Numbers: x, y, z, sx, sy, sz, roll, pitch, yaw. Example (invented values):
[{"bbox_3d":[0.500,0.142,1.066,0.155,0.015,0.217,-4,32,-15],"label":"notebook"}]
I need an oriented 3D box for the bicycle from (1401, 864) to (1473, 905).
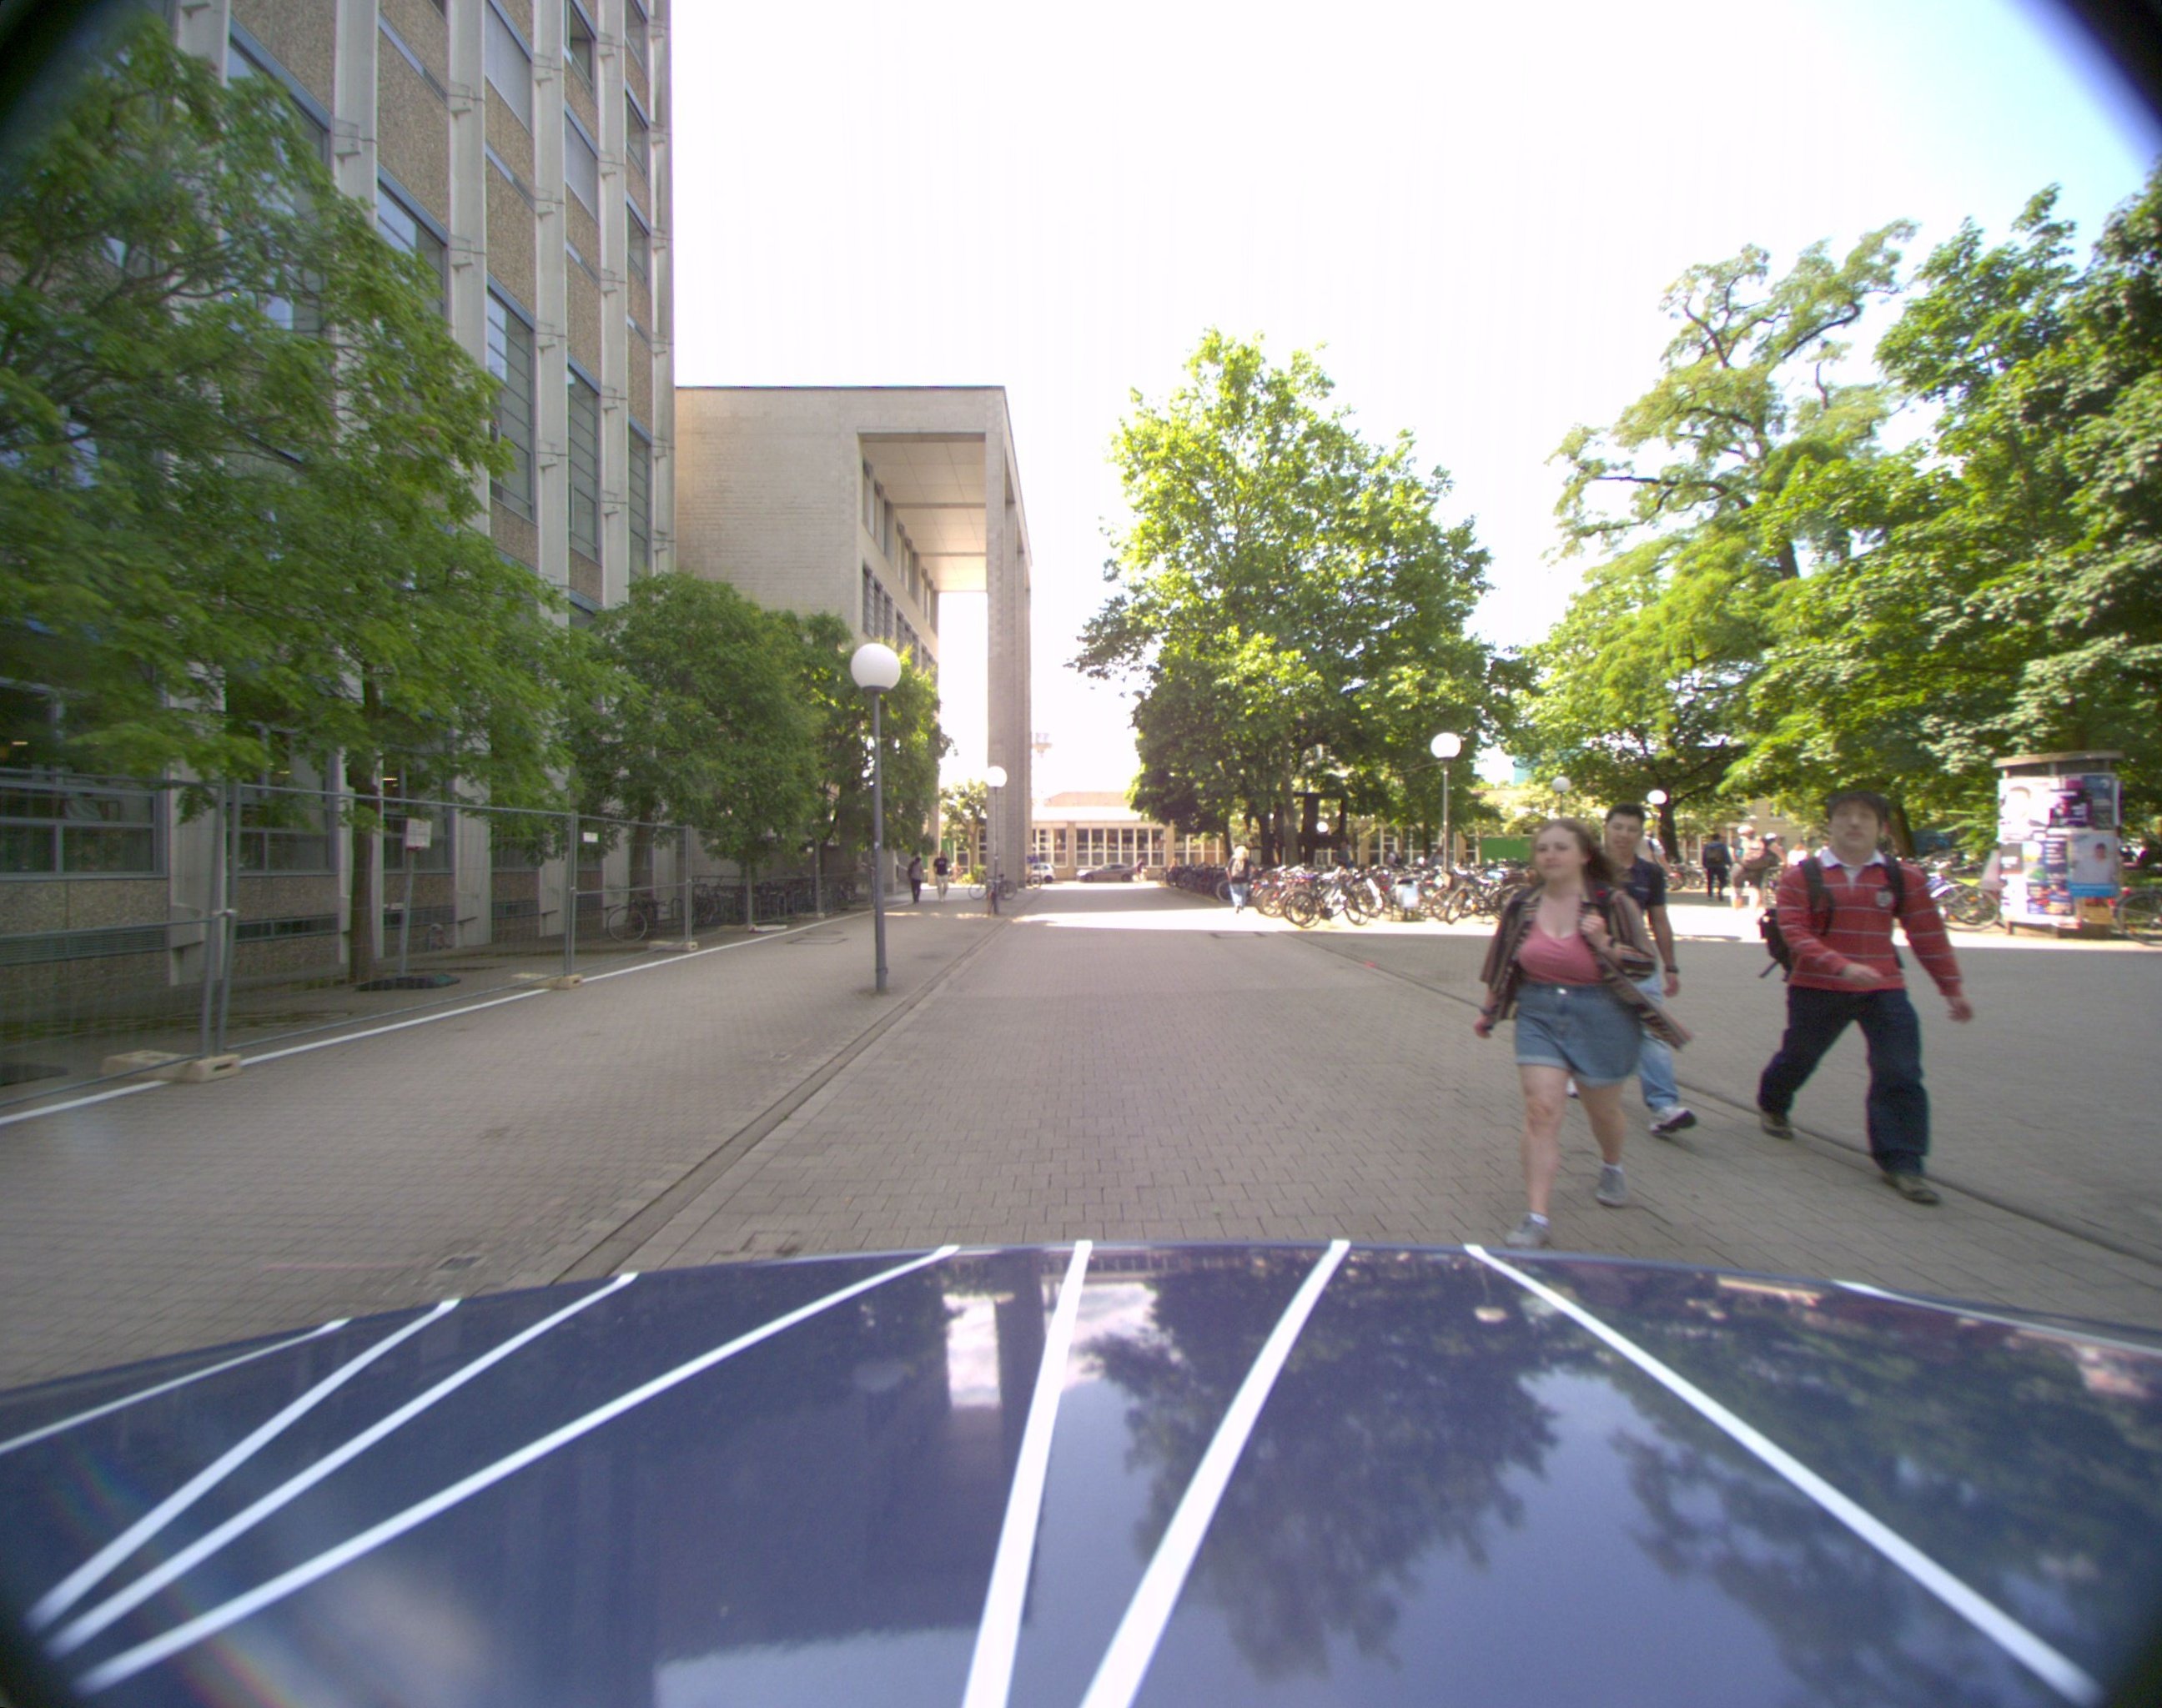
[{"bbox_3d":[9.678,0.824,20.685,1.695,1.077,0.475,-1,1,36],"label":"bicycle"}]

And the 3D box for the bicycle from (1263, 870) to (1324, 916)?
[{"bbox_3d":[5.370,0.962,19.162,1.702,1.055,0.473,-2,1,-35],"label":"bicycle"}]

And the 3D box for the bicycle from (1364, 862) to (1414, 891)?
[{"bbox_3d":[12.142,0.882,29.985,1.695,1.101,0.633,-1,1,40],"label":"bicycle"}]

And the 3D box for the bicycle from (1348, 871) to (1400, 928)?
[{"bbox_3d":[6.174,0.935,16.078,0.508,1.077,1.700,-1,0,3],"label":"bicycle"}]

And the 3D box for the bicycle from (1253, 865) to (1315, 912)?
[{"bbox_3d":[5.444,0.908,20.366,1.702,1.151,0.473,-1,1,-27],"label":"bicycle"}]

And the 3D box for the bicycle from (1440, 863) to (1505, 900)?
[{"bbox_3d":[11.914,0.825,23.152,1.695,1.077,0.475,-1,1,45],"label":"bicycle"}]

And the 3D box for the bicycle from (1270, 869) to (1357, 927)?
[{"bbox_3d":[4.937,0.932,16.163,1.699,1.161,0.474,-1,1,-6],"label":"bicycle"}]

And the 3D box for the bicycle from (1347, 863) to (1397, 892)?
[{"bbox_3d":[11.211,0.901,29.295,1.695,1.101,0.504,-1,1,40],"label":"bicycle"}]

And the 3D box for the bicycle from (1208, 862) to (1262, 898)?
[{"bbox_3d":[5.344,0.898,26.416,1.739,1.172,0.497,-1,1,-1],"label":"bicycle"}]

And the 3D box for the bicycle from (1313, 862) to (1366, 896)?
[{"bbox_3d":[9.245,0.883,27.197,1.695,1.193,0.577,-1,1,36],"label":"bicycle"}]

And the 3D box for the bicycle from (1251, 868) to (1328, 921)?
[{"bbox_3d":[4.858,0.932,17.726,1.700,1.161,0.473,-1,1,-13],"label":"bicycle"}]

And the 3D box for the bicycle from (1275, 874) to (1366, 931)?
[{"bbox_3d":[4.843,0.970,15.403,1.699,1.085,0.474,-1,1,-6],"label":"bicycle"}]

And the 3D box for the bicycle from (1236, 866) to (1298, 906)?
[{"bbox_3d":[5.515,0.938,22.591,1.700,1.101,0.565,-1,1,-11],"label":"bicycle"}]

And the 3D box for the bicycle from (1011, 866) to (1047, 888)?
[{"bbox_3d":[-2.765,1.208,40.257,1.886,1.157,0.605,1,-1,-5],"label":"bicycle"}]

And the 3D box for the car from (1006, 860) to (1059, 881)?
[{"bbox_3d":[-3.570,1.208,56.455,3.776,1.468,1.653,0,2,0],"label":"car"}]

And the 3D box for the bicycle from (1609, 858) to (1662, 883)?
[{"bbox_3d":[24.641,0.726,33.785,0.475,1.077,1.854,-2,1,-38],"label":"bicycle"}]

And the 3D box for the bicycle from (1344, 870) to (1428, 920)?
[{"bbox_3d":[6.874,0.928,17.193,1.696,1.077,0.474,-1,1,13],"label":"bicycle"}]

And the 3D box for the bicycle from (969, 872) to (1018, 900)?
[{"bbox_3d":[-3.177,1.162,27.745,1.744,1.033,0.449,0,-1,-5],"label":"bicycle"}]

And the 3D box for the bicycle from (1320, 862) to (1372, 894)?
[{"bbox_3d":[9.641,0.869,27.677,1.695,1.101,0.504,-1,1,36],"label":"bicycle"}]

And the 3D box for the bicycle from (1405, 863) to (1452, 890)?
[{"bbox_3d":[14.674,0.920,32.153,0.504,1.101,1.775,-2,1,-38],"label":"bicycle"}]

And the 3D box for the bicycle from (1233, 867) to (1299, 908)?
[{"bbox_3d":[5.233,0.938,21.511,1.700,1.101,0.582,-1,1,-11],"label":"bicycle"}]

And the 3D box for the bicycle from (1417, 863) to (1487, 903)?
[{"bbox_3d":[10.504,0.815,21.534,1.695,1.077,0.475,-1,1,36],"label":"bicycle"}]

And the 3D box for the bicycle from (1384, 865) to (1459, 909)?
[{"bbox_3d":[8.724,0.845,19.500,1.695,1.077,0.475,-1,1,31],"label":"bicycle"}]

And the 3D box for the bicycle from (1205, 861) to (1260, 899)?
[{"bbox_3d":[5.146,0.873,25.855,1.740,1.228,0.496,-1,1,-7],"label":"bicycle"}]

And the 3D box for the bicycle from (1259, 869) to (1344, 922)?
[{"bbox_3d":[4.914,0.927,17.015,1.778,1.161,0.474,-1,1,13],"label":"bicycle"}]

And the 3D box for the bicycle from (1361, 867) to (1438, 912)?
[{"bbox_3d":[7.928,0.875,18.928,1.695,1.077,0.475,-1,1,35],"label":"bicycle"}]

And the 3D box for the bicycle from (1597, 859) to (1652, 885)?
[{"bbox_3d":[23.598,0.766,33.007,0.475,1.077,1.854,-2,1,-38],"label":"bicycle"}]

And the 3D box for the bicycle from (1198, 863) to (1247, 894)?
[{"bbox_3d":[5.319,0.917,28.612,1.740,1.120,0.497,-1,1,-5],"label":"bicycle"}]

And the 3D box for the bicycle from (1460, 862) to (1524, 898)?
[{"bbox_3d":[12.902,0.811,23.907,1.695,1.077,0.475,-1,1,45],"label":"bicycle"}]

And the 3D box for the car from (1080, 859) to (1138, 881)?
[{"bbox_3d":[2.069,1.192,56.622,4.208,1.467,1.653,-1,1,0],"label":"car"}]

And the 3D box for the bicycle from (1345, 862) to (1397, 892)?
[{"bbox_3d":[10.709,0.844,28.068,1.695,1.101,0.504,-1,1,36],"label":"bicycle"}]

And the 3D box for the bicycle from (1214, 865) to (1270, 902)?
[{"bbox_3d":[5.163,0.939,24.394,1.700,1.101,0.473,-1,1,-12],"label":"bicycle"}]

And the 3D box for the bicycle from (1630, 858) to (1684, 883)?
[{"bbox_3d":[25.929,0.738,34.232,0.475,1.077,1.854,-2,1,-38],"label":"bicycle"}]

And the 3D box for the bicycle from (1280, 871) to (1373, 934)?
[{"bbox_3d":[4.817,0.932,14.933,1.699,1.152,0.474,-1,1,-9],"label":"bicycle"}]

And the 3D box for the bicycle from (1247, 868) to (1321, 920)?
[{"bbox_3d":[4.888,0.938,18.268,1.701,1.161,0.473,-1,1,-17],"label":"bicycle"}]

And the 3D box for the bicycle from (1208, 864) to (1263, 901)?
[{"bbox_3d":[5.061,0.921,24.851,1.700,1.139,0.473,-1,1,-12],"label":"bicycle"}]

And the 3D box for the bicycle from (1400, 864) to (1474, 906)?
[{"bbox_3d":[9.473,0.811,20.244,1.695,1.077,0.475,-1,1,36],"label":"bicycle"}]

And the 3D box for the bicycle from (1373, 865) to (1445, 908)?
[{"bbox_3d":[8.673,0.853,20.112,1.695,1.077,0.475,-1,1,31],"label":"bicycle"}]

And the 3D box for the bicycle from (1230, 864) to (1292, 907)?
[{"bbox_3d":[5.224,0.906,22.038,1.700,1.181,0.473,-1,1,-11],"label":"bicycle"}]

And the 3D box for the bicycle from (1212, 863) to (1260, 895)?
[{"bbox_3d":[5.722,0.913,27.960,1.743,1.101,0.496,-1,1,-24],"label":"bicycle"}]

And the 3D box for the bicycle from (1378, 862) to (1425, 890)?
[{"bbox_3d":[13.007,0.872,30.848,1.695,1.101,0.504,-1,1,40],"label":"bicycle"}]

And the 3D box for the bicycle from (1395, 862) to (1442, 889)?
[{"bbox_3d":[14.084,0.894,31.729,0.504,1.101,1.775,-2,1,-38],"label":"bicycle"}]

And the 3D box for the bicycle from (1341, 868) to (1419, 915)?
[{"bbox_3d":[7.165,0.900,18.265,1.696,1.077,0.474,-1,1,13],"label":"bicycle"}]

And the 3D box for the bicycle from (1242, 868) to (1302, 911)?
[{"bbox_3d":[5.231,0.948,20.779,1.702,1.101,0.473,-1,1,-27],"label":"bicycle"}]

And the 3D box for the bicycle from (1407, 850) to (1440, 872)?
[{"bbox_3d":[19.961,0.407,44.272,1.889,1.165,0.803,-1,-1,-31],"label":"bicycle"}]

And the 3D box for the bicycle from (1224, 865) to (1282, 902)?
[{"bbox_3d":[5.433,0.929,24.021,1.700,1.101,0.473,-1,1,-11],"label":"bicycle"}]

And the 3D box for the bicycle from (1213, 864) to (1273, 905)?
[{"bbox_3d":[4.984,0.925,23.422,1.699,1.191,0.536,-1,1,-8],"label":"bicycle"}]

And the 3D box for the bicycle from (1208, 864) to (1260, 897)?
[{"bbox_3d":[5.468,0.925,27.107,1.741,1.101,0.496,-1,1,-12],"label":"bicycle"}]

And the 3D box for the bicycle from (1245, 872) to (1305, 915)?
[{"bbox_3d":[4.997,1.002,19.516,1.702,1.013,0.473,-2,1,-35],"label":"bicycle"}]

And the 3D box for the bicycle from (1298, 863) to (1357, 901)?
[{"bbox_3d":[7.704,0.861,23.718,1.700,1.101,0.502,-1,1,-11],"label":"bicycle"}]

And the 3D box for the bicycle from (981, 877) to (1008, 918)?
[{"bbox_3d":[-2.361,1.173,20.865,0.538,1.033,1.858,0,0,0],"label":"bicycle"}]

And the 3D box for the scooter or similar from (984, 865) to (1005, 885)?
[{"bbox_3d":[-5.126,1.245,44.871,1.157,1.144,0.444,0,0,5],"label":"scooter or similar"}]

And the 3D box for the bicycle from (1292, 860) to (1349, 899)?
[{"bbox_3d":[7.808,0.821,24.776,1.700,1.213,0.502,-1,1,-11],"label":"bicycle"}]

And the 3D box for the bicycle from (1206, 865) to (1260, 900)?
[{"bbox_3d":[5.079,0.942,25.377,1.700,1.101,0.496,-1,1,-10],"label":"bicycle"}]
